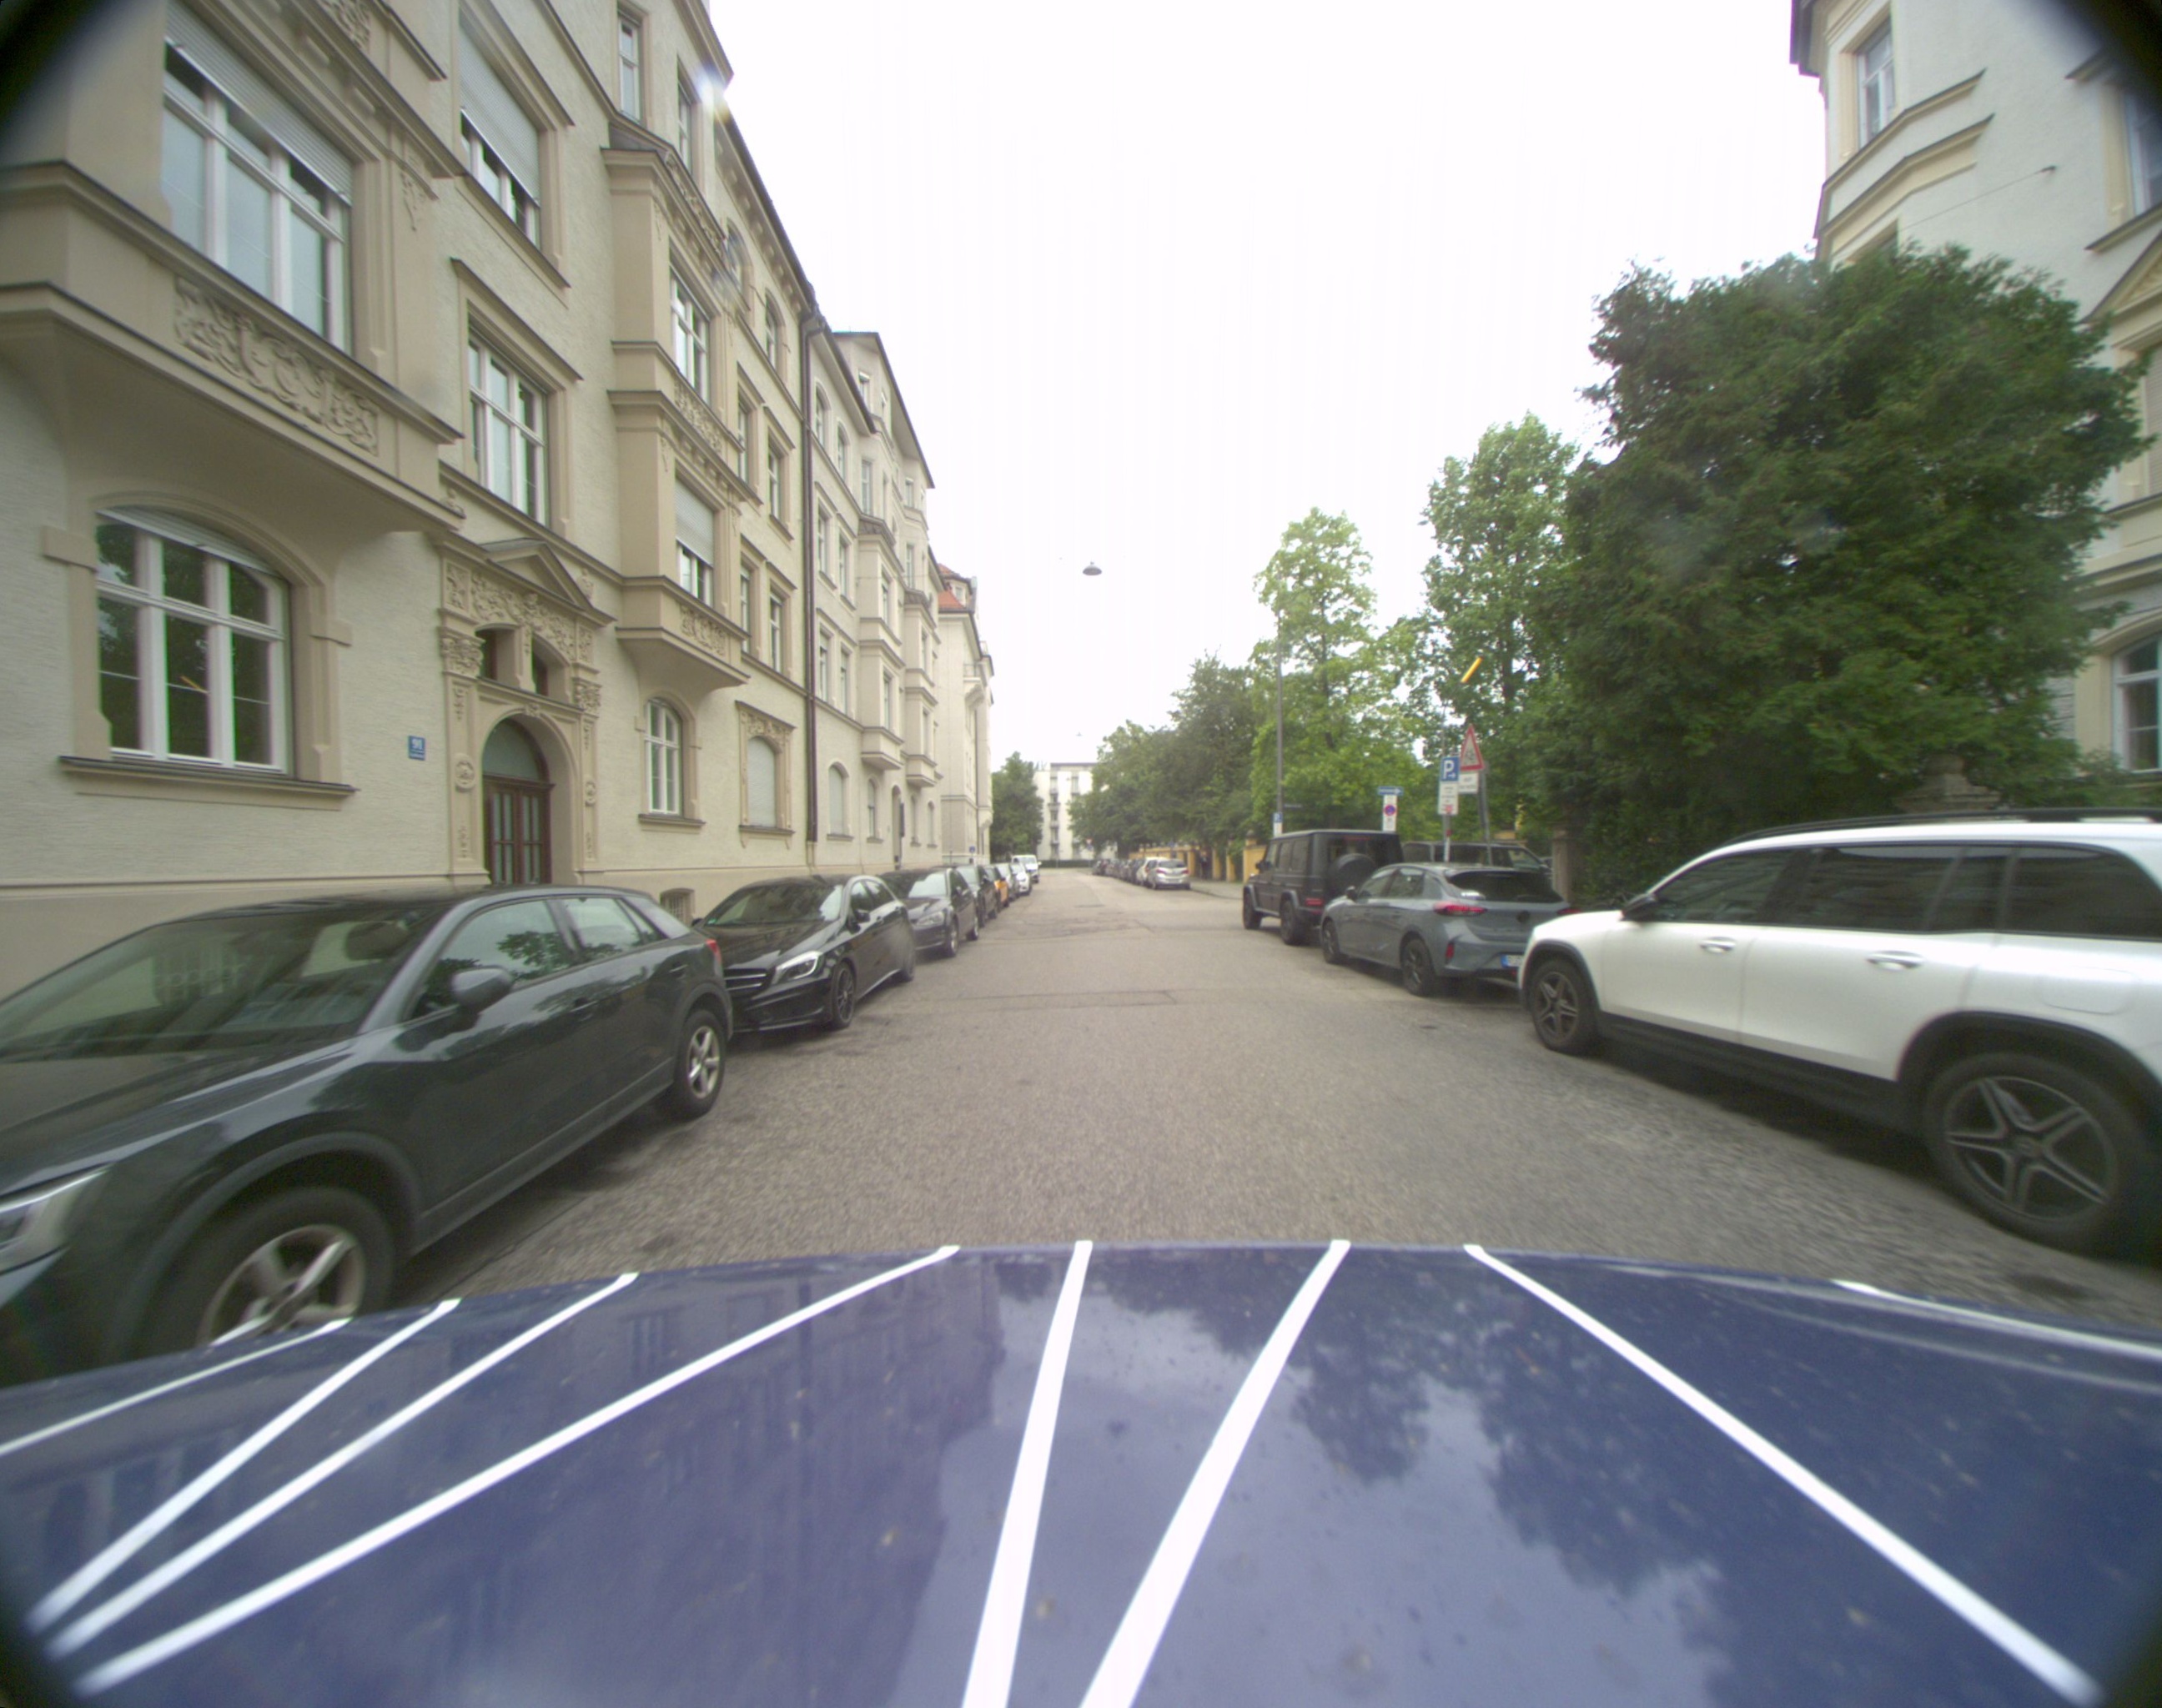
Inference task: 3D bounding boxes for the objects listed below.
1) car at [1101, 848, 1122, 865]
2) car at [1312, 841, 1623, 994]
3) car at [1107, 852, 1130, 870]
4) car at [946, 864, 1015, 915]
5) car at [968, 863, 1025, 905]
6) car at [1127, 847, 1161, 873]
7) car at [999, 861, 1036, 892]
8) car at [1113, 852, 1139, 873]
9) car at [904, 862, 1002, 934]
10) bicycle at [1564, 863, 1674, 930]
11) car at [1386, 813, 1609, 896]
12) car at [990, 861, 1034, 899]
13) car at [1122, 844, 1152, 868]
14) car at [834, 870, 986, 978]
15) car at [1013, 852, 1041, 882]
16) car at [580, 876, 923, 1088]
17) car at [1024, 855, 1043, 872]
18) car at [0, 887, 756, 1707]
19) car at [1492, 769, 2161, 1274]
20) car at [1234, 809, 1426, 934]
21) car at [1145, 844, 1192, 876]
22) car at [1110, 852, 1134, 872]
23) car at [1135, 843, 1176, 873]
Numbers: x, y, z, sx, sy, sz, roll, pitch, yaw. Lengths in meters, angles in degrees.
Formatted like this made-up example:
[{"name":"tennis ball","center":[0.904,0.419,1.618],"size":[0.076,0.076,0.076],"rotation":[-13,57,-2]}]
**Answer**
[{"name":"car","center":[2.826,0.236,71.253],"size":[1.653,1.552,3.929],"rotation":[-1,0,-2]},{"name":"car","center":[4.260,0.601,9.152],"size":[1.647,1.422,3.918],"rotation":[1,0,-1]},{"name":"car","center":[3.249,0.606,66.547],"size":[1.653,1.552,3.929],"rotation":[-1,0,-2]},{"name":"car","center":[-3.129,1.071,24.309],"size":[1.661,1.431,3.597],"rotation":[-2,0,1]},{"name":"car","center":[-3.214,1.114,29.706],"size":[1.715,1.382,4.000],"rotation":[-3,0,0]},{"name":"car","center":[3.855,0.362,47.223],"size":[1.653,1.552,3.929],"rotation":[-1,0,-2]},{"name":"car","center":[-3.238,1.123,39.286],"size":[1.715,1.382,4.084],"rotation":[-3,0,-3]},{"name":"car","center":[3.388,0.645,57.883],"size":[1.653,1.552,3.929],"rotation":[-1,0,-2]},{"name":"car","center":[-3.072,1.012,19.012],"size":[1.747,1.507,3.957],"rotation":[-2,0,0]},{"name":"bicycle","center":[8.254,0.628,11.747],"size":[0.451,0.946,1.637],"rotation":[-2,-1,-2]},{"name":"car","center":[10.344,0.000,19.060],"size":[4.520,1.847,2.053],"rotation":[-2,0,-7]},{"name":"car","center":[-3.068,1.124,34.294],"size":[1.715,1.462,4.084],"rotation":[-3,0,-3]},{"name":"car","center":[3.801,0.127,52.415],"size":[1.653,1.552,3.929],"rotation":[-1,0,-2]},{"name":"car","center":[-2.785,1.078,13.242],"size":[1.646,1.409,4.000],"rotation":[-3,0,0]},{"name":"car","center":[-3.690,0.866,52.554],"size":[1.794,1.926,4.084],"rotation":[-3,0,-3]},{"name":"car","center":[-3.038,1.076,8.054],"size":[1.746,1.390,4.021],"rotation":[-4,1,1]},{"name":"car","center":[-4.747,0.940,76.737],"size":[1.794,1.638,4.084],"rotation":[-3,0,-3]},{"name":"car","center":[-3.098,1.020,3.215],"size":[1.796,1.489,4.081],"rotation":[-4,0,-4]},{"name":"car","center":[4.377,0.536,4.118],"size":[1.811,1.638,4.485],"rotation":[-1,0,-1]},{"name":"car","center":[4.302,0.246,14.026],"size":[1.917,1.875,4.816],"rotation":[-1,1,-1]},{"name":"car","center":[4.249,0.272,37.279],"size":[1.705,1.483,3.955],"rotation":[-1,0,-2]},{"name":"car","center":[3.328,0.654,62.380],"size":[1.653,1.552,3.929],"rotation":[-1,0,-2]},{"name":"car","center":[4.080,0.213,42.138],"size":[1.705,1.552,3.929],"rotation":[-3,0,-2]}]
